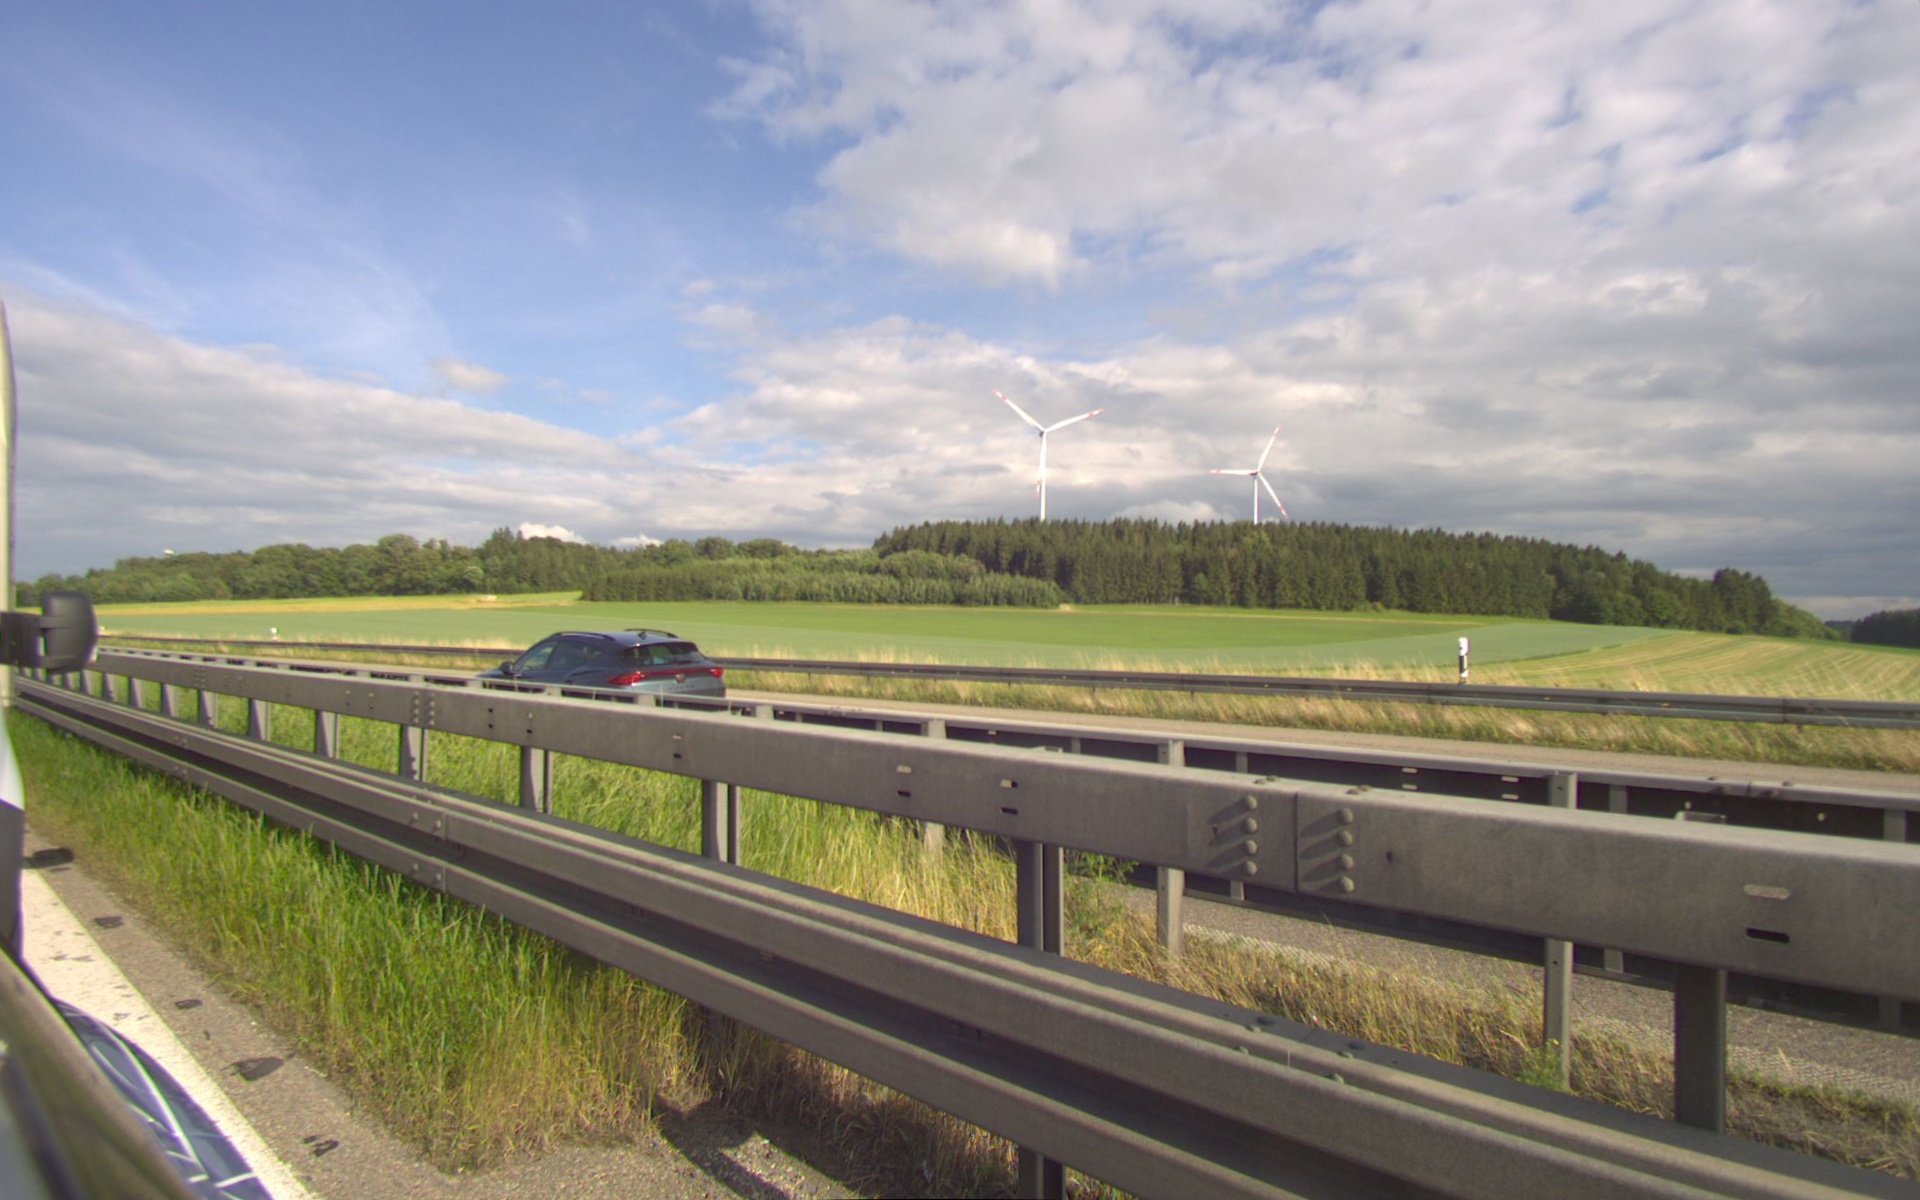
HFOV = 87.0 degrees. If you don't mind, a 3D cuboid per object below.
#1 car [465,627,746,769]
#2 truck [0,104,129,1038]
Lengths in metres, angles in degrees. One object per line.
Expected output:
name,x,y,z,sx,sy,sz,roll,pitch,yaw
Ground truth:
car,-4.691,1.130,13.119,3.998,1.496,1.714,-1,-1,41
truck,-8.081,0.013,6.375,11.155,3.183,2.470,-2,-1,40
